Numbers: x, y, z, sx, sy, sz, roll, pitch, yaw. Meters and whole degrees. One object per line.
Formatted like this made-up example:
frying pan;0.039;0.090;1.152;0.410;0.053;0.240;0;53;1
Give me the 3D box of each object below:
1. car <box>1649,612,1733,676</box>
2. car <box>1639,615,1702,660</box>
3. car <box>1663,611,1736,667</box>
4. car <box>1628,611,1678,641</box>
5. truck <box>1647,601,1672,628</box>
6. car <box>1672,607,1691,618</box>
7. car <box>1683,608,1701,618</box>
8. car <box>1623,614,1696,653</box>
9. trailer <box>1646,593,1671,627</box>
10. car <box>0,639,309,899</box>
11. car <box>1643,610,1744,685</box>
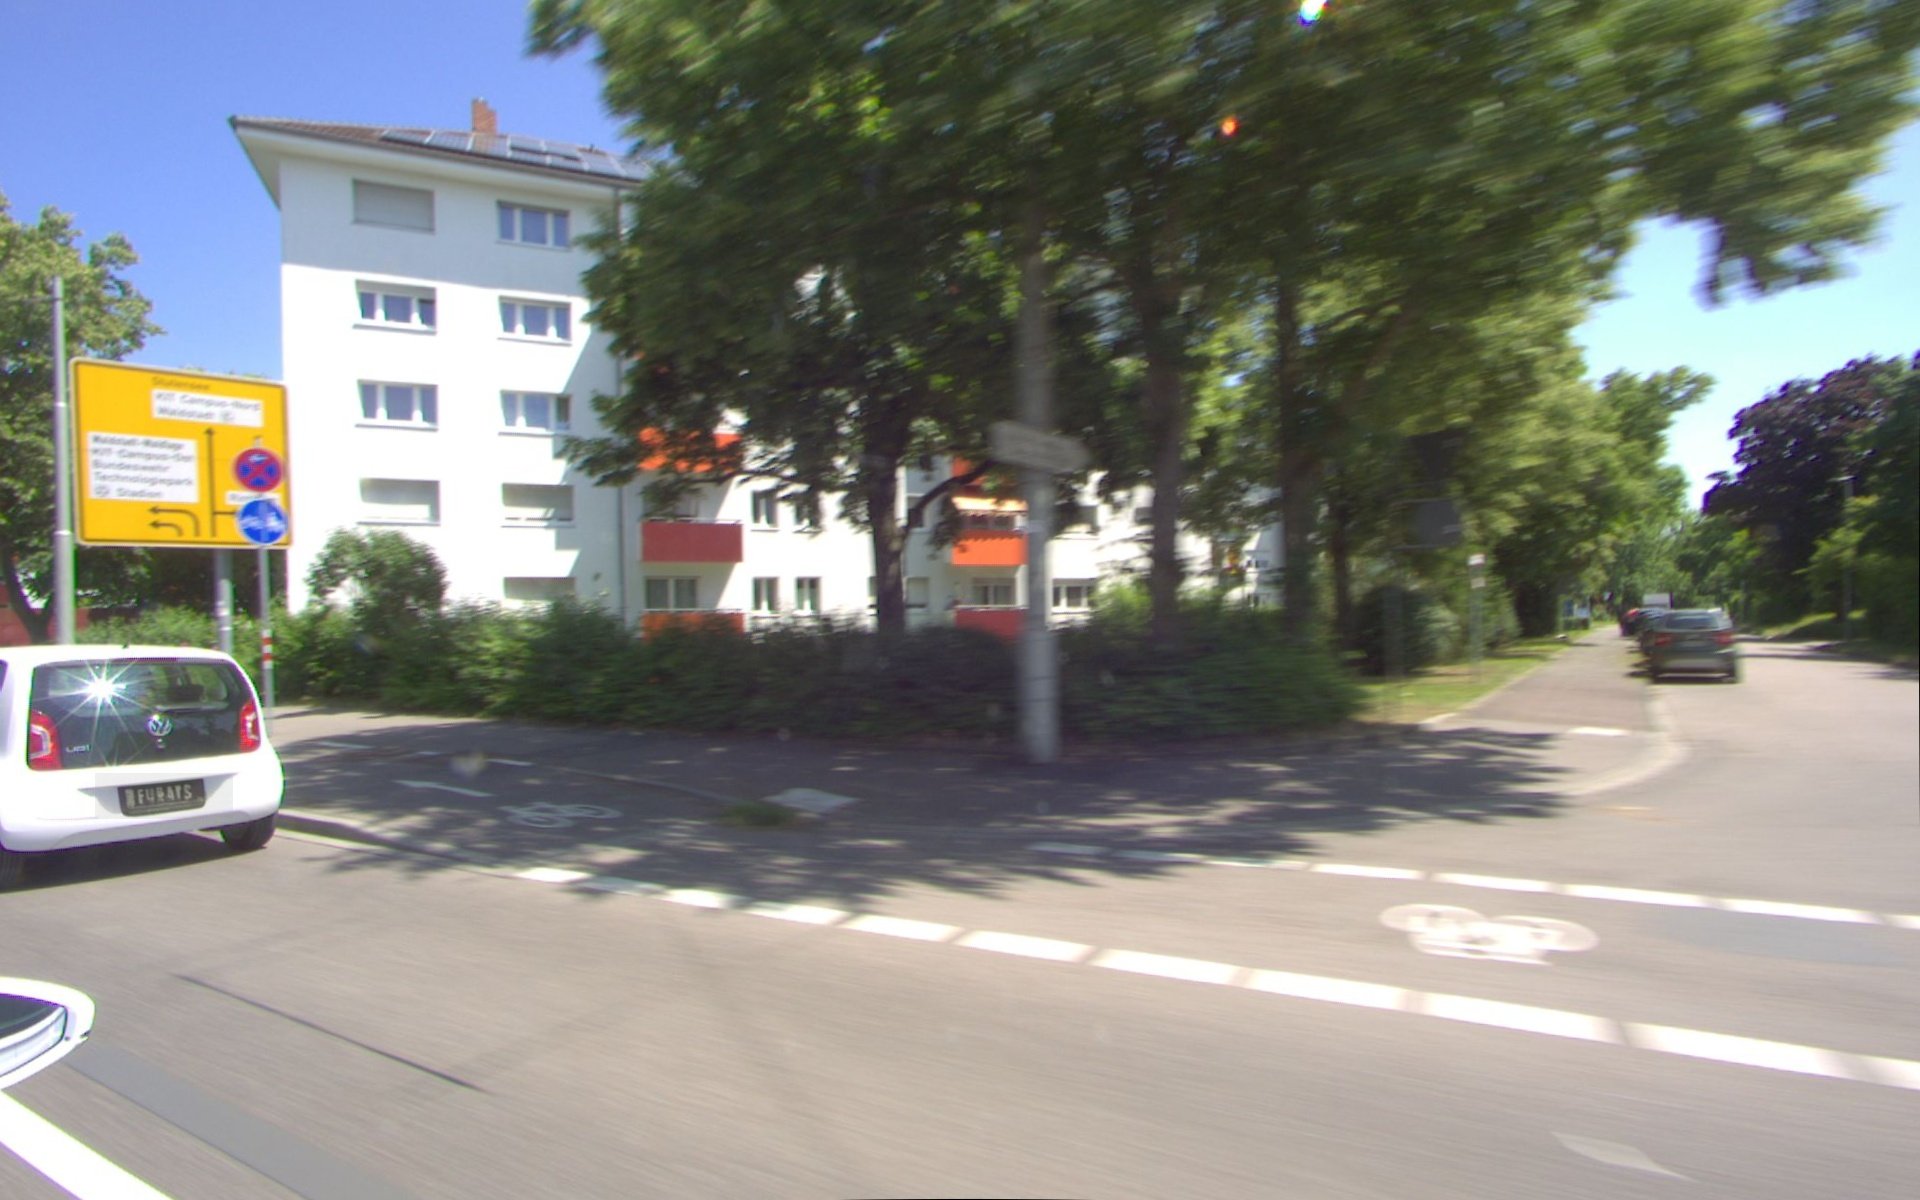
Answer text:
car;18.886;1.090;25.949;1.631;1.524;3.623;-1;-1;35
car;24.290;1.255;34.284;1.672;1.432;3.707;-1;-1;35
car;21.647;1.115;29.376;1.608;1.515;3.975;-1;-1;36
car;34.583;1.294;50.030;1.973;1.457;3.977;-1;-1;34
truck;72.193;1.497;103.396;1.973;2.700;4.257;-1;-1;34
car;98.919;1.754;137.231;1.973;1.457;3.977;-1;-1;34
car;109.524;1.920;149.911;1.973;1.457;3.977;-1;-1;34
car;27.573;1.315;39.562;1.970;1.457;3.983;-1;-1;30
trailer;73.878;1.099;105.917;1.972;3.556;5.834;-1;-1;33
car;-6.708;1.031;7.401;3.797;1.468;1.657;-1;-2;30
car;16.606;1.024;22.761;1.702;1.560;3.975;-1;-1;36
